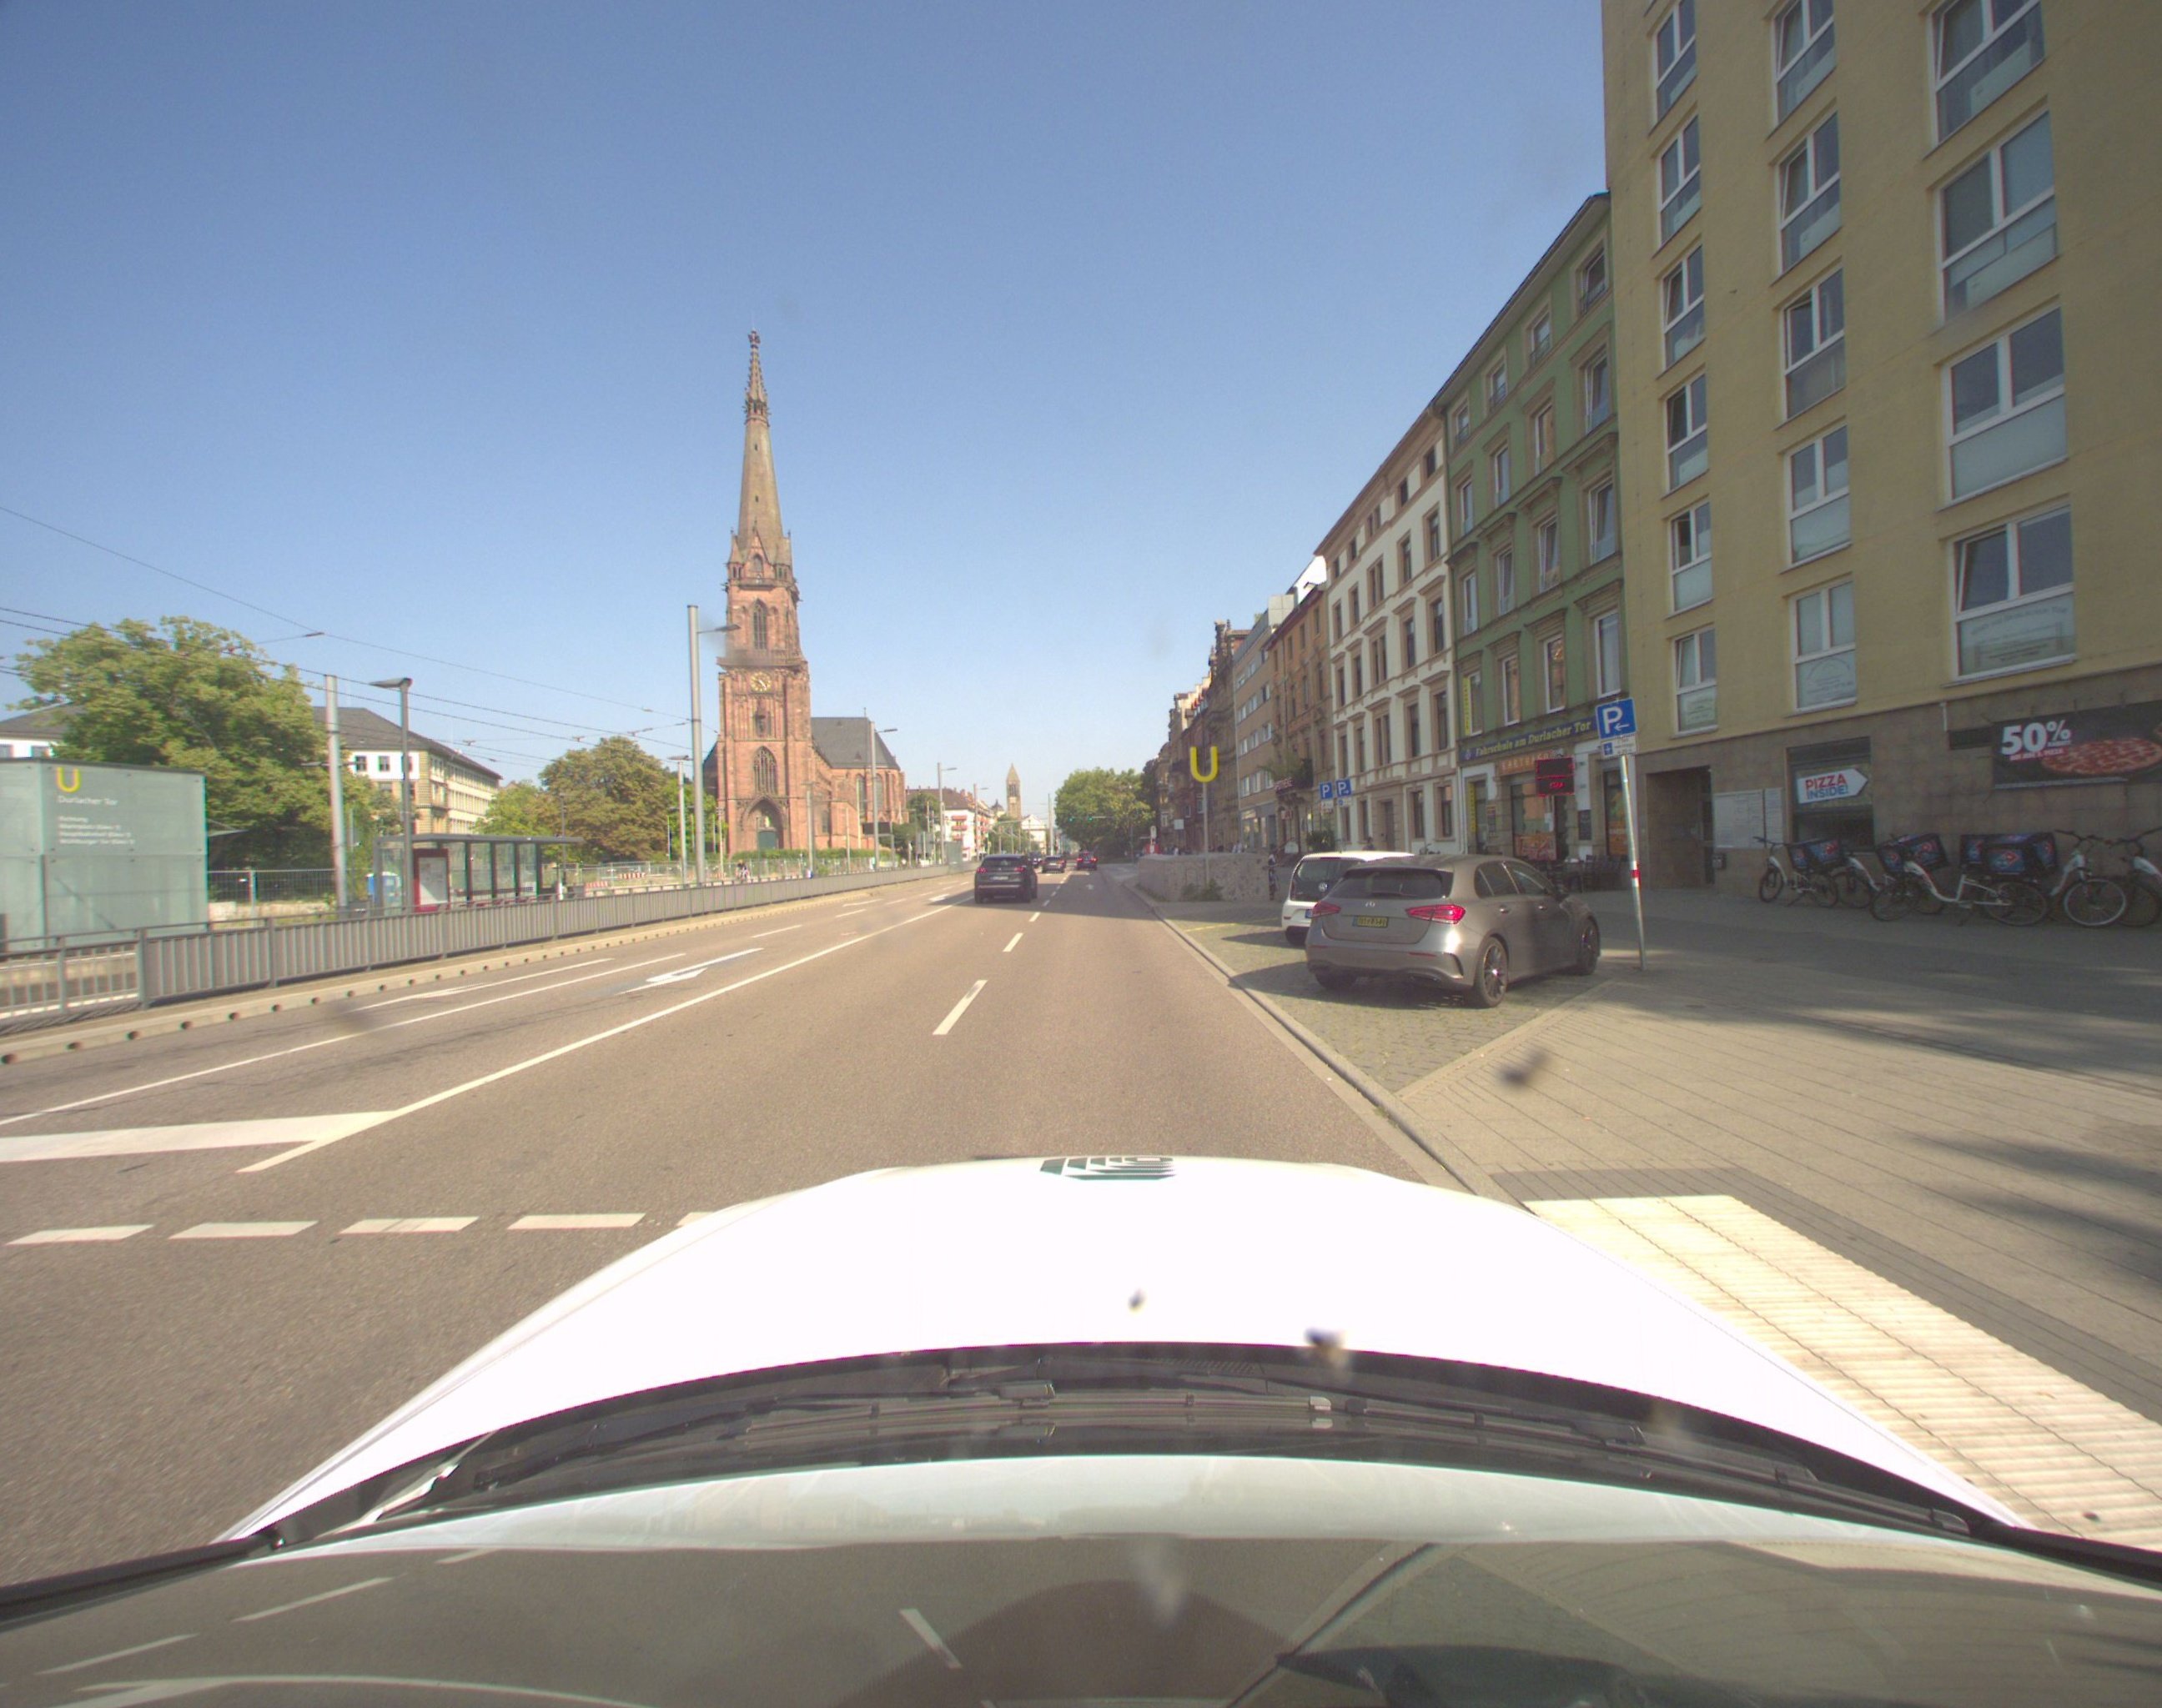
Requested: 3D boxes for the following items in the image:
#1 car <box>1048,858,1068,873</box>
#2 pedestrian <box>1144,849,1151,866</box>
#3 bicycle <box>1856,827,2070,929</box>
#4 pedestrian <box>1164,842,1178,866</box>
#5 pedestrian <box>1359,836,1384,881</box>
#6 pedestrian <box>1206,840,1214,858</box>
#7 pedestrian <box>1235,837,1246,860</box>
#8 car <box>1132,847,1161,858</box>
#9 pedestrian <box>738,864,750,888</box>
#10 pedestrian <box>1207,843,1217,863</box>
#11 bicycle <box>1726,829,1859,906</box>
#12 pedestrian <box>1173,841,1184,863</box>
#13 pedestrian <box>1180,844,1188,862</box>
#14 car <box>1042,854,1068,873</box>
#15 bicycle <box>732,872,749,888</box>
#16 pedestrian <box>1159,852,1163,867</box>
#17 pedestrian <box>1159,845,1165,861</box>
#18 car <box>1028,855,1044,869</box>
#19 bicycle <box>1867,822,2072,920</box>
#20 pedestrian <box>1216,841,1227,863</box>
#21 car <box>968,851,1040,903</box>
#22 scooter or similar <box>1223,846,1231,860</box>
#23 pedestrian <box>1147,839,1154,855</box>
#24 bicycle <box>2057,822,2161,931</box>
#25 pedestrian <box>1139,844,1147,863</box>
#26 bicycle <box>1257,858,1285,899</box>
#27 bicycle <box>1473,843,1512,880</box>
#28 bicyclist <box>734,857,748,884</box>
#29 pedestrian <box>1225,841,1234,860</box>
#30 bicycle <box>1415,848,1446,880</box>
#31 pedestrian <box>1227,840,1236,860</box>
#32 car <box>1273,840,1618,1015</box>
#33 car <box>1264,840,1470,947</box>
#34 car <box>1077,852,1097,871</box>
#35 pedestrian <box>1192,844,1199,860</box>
[{"bbox_3d":[-2.380,1.200,86.069,1.858,1.424,4.357,-1,0,1],"label":"car"},{"bbox_3d":[6.594,0.324,80.911,0.527,1.612,0.702,-2,0,-3],"label":"pedestrian"},{"bbox_3d":[12.076,0.295,11.263,0.602,1.261,1.992,-2,0,-8],"label":"bicycle"},{"bbox_3d":[7.076,-0.027,64.013,0.923,1.831,0.800,-2,0,-3],"label":"pedestrian"},{"bbox_3d":[10.711,0.168,30.068,0.606,1.629,0.737,-2,0,1],"label":"pedestrian"},{"bbox_3d":[12.536,-0.495,79.150,0.627,1.719,0.691,-2,0,0],"label":"pedestrian"},{"bbox_3d":[12.792,-0.460,65.229,0.602,1.831,0.741,-2,0,-3],"label":"pedestrian"},{"bbox_3d":[10.368,-0.255,128.993,4.172,1.563,1.997,-3,0,-4],"label":"car"},{"bbox_3d":[-23.688,1.538,57.187,0.515,1.700,0.664,-2,0,-1],"label":"pedestrian"},{"bbox_3d":[10.830,-0.089,67.373,0.717,1.610,0.856,-2,0,1],"label":"pedestrian"},{"bbox_3d":[12.610,0.219,14.522,0.600,1.261,1.997,-2,0,0],"label":"bicycle"},{"bbox_3d":[8.105,-0.170,67.939,0.748,1.729,0.800,-2,0,-3],"label":"pedestrian"},{"bbox_3d":[10.396,-0.097,82.501,0.614,1.804,1.072,-2,0,1],"label":"pedestrian"},{"bbox_3d":[-2.109,0.771,66.979,1.858,1.424,4.357,-1,0,1],"label":"car"},{"bbox_3d":[-22.566,1.710,53.978,0.349,0.954,1.696,-2,0,1],"label":"bicycle"},{"bbox_3d":[6.980,0.454,71.135,0.275,1.274,0.447,-2,0,-7],"label":"pedestrian"},{"bbox_3d":[8.757,-0.075,88.057,0.480,1.702,0.702,-2,0,-3],"label":"pedestrian"},{"bbox_3d":[-5.425,0.982,98.888,1.735,1.526,3.872,-3,0,-1],"label":"car"},{"bbox_3d":[12.714,0.224,11.764,0.602,1.261,1.992,-2,0,-8],"label":"bicycle"},{"bbox_3d":[11.592,-0.193,67.362,0.717,1.787,0.856,-2,0,1],"label":"pedestrian"},{"bbox_3d":[-2.557,0.722,28.044,1.987,1.621,4.357,-1,0,1],"label":"car"},{"bbox_3d":[12.593,-0.117,70.138,0.359,1.163,1.151,-2,0,-2],"label":"scooter or similar"},{"bbox_3d":[7.553,-0.736,88.781,0.688,1.664,0.619,-2,0,0],"label":"pedestrian"},{"bbox_3d":[12.852,0.255,9.532,0.600,1.261,1.849,-2,0,0],"label":"bicycle"},{"bbox_3d":[5.656,-0.024,74.041,0.563,1.729,0.744,-2,0,-3],"label":"pedestrian"},{"bbox_3d":[5.582,0.706,23.954,0.382,1.134,1.790,-2,0,1],"label":"bicycle"},{"bbox_3d":[13.223,0.219,26.201,0.382,1.134,1.720,-2,0,1],"label":"bicycle"},{"bbox_3d":[-22.521,1.093,54.003,0.485,1.747,0.819,-2,0,1],"label":"bicyclist"},{"bbox_3d":[13.210,-0.319,72.339,0.602,1.691,0.586,-2,0,-3],"label":"pedestrian"},{"bbox_3d":[12.968,0.359,30.227,0.382,1.134,1.720,-2,0,1],"label":"bicycle"},{"bbox_3d":[13.184,-0.317,71.263,0.602,1.731,0.510,-2,0,-3],"label":"pedestrian"},{"bbox_3d":[4.234,0.622,9.085,4.433,1.423,1.826,-2,0,-42],"label":"car"},{"bbox_3d":[4.737,0.553,13.287,3.548,1.464,1.603,-2,0,-42],"label":"car"},{"bbox_3d":[0.581,0.661,75.137,1.825,1.621,4.357,-1,0,1],"label":"car"},{"bbox_3d":[11.604,-0.214,82.533,0.484,1.610,0.813,-2,0,1],"label":"pedestrian"}]
